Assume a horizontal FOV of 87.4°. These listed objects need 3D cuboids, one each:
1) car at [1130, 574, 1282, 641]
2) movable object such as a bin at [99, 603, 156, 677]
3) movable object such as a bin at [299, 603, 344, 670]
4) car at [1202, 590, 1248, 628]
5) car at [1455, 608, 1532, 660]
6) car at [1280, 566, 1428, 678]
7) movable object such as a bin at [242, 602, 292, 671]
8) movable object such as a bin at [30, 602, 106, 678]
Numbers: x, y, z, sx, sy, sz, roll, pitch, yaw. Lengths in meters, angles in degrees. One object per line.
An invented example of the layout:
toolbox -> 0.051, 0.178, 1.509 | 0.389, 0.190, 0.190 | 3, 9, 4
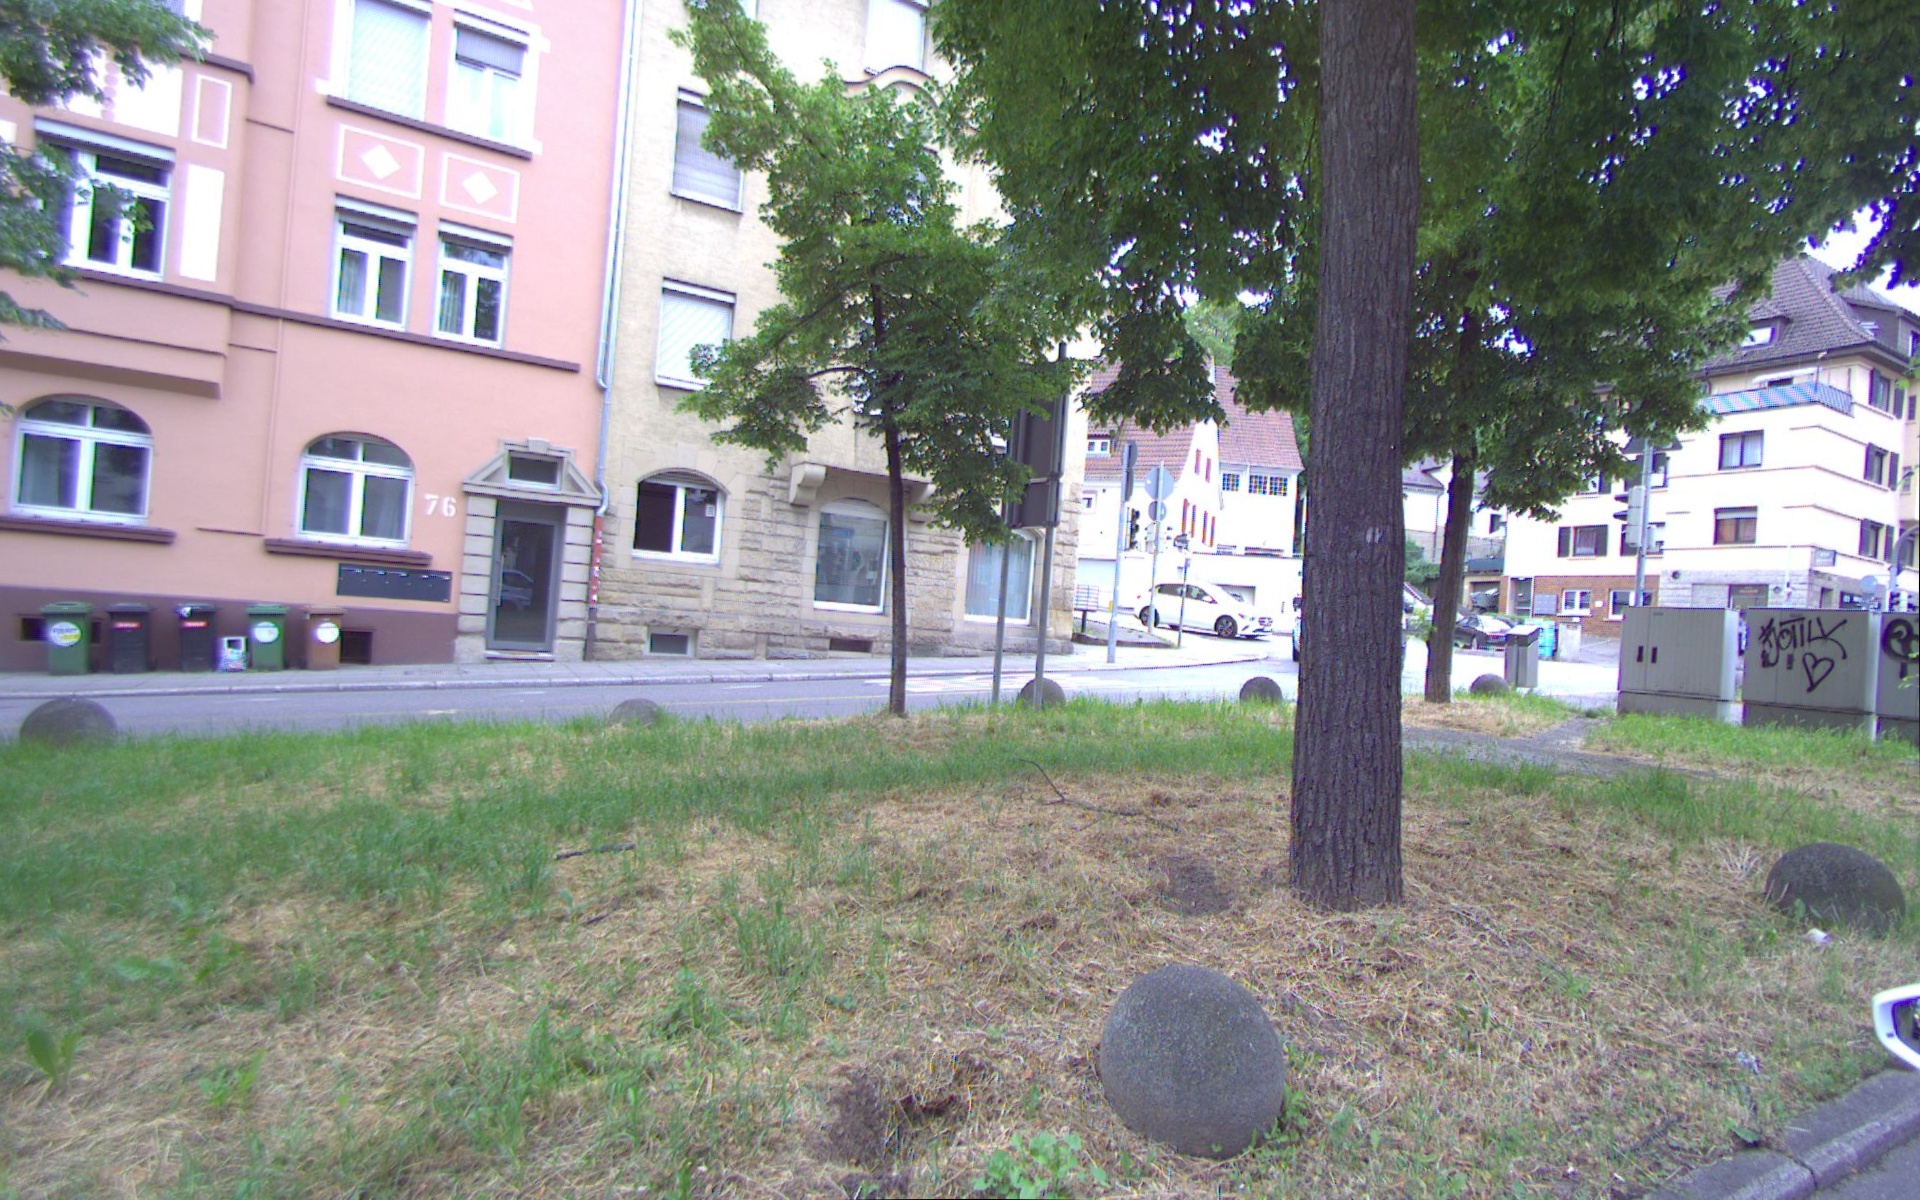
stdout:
car -> 7.549, 0.199, 31.069 | 4.203, 1.615, 1.682 | 7, 4, 42
movable object such as a bin -> -11.158, 0.532, 13.473 | 0.528, 0.958, 0.576 | 2, 0, -36
movable object such as a bin -> -9.264, 0.526, 14.573 | 0.510, 0.934, 0.752 | 2, 0, -34
car -> 11.792, 0.369, 44.905 | 1.638, 1.424, 3.058 | 7, 3, 11
car -> 21.764, 1.331, 41.100 | 1.832, 1.619, 3.519 | 2, 6, 13
car -> 7.976, 0.377, 20.881 | 1.959, 1.971, 5.310 | 2, 1, 12
movable object such as a bin -> -9.809, 0.508, 14.237 | 0.554, 0.934, 0.649 | 2, 0, -34
movable object such as a bin -> -11.654, 0.515, 13.140 | 0.611, 0.961, 0.613 | 2, 0, -31
